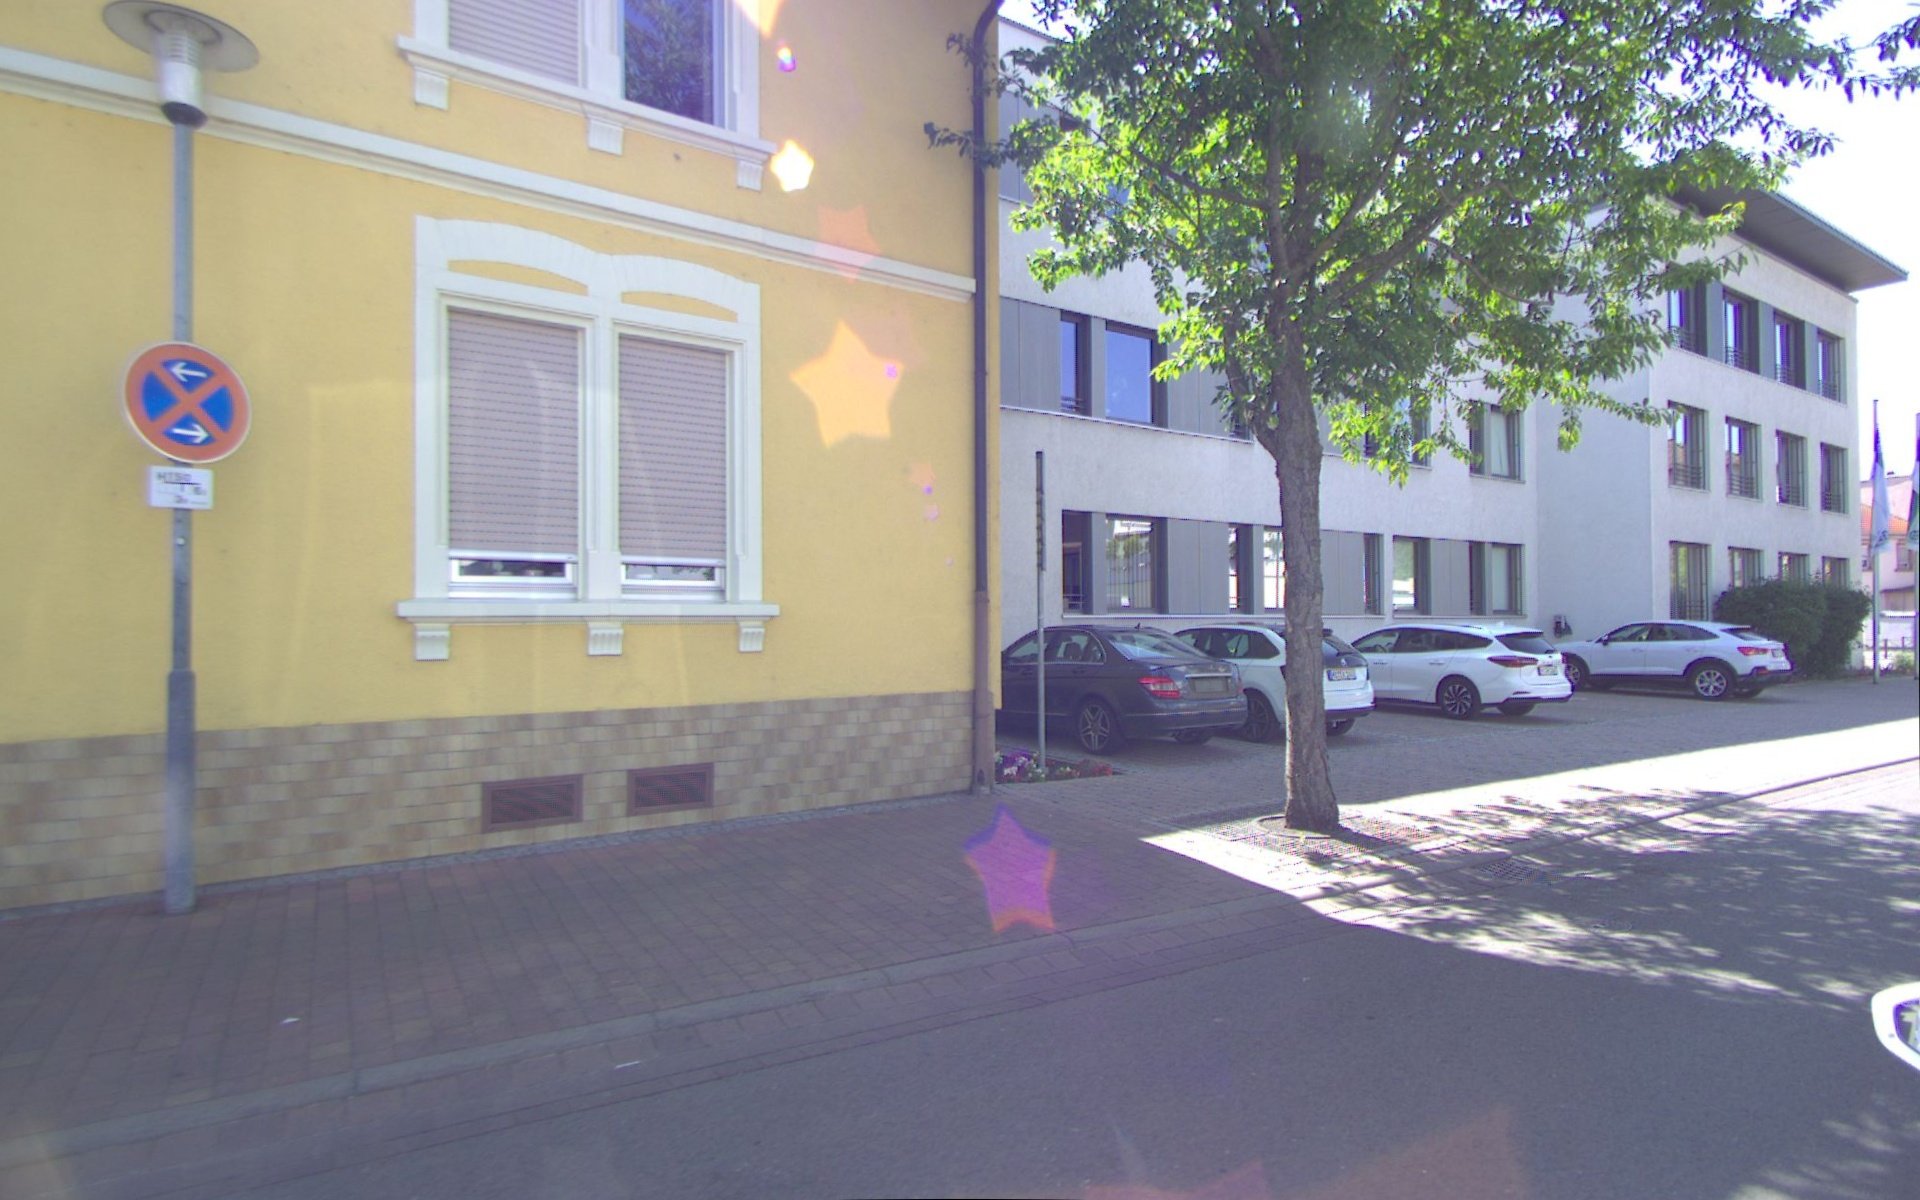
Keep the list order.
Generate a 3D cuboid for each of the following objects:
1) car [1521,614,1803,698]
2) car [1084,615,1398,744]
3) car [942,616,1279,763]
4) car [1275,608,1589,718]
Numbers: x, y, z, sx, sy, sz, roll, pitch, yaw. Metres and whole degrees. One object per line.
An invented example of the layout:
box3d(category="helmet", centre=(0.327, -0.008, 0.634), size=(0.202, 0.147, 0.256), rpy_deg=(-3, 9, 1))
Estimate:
box3d(category="car", centre=(14.758, 1.101, 21.372), size=(2.125, 1.575, 4.480), rpy_deg=(1, -1, -33))
box3d(category="car", centre=(3.679, 0.954, 13.784), size=(1.788, 1.470, 3.963), rpy_deg=(0, 0, -34))
box3d(category="car", centre=(1.693, 0.949, 12.440), size=(1.953, 1.450, 3.959), rpy_deg=(0, 0, -36))
box3d(category="car", centre=(7.722, 0.962, 16.898), size=(1.914, 1.574, 4.479), rpy_deg=(0, -1, -32))
